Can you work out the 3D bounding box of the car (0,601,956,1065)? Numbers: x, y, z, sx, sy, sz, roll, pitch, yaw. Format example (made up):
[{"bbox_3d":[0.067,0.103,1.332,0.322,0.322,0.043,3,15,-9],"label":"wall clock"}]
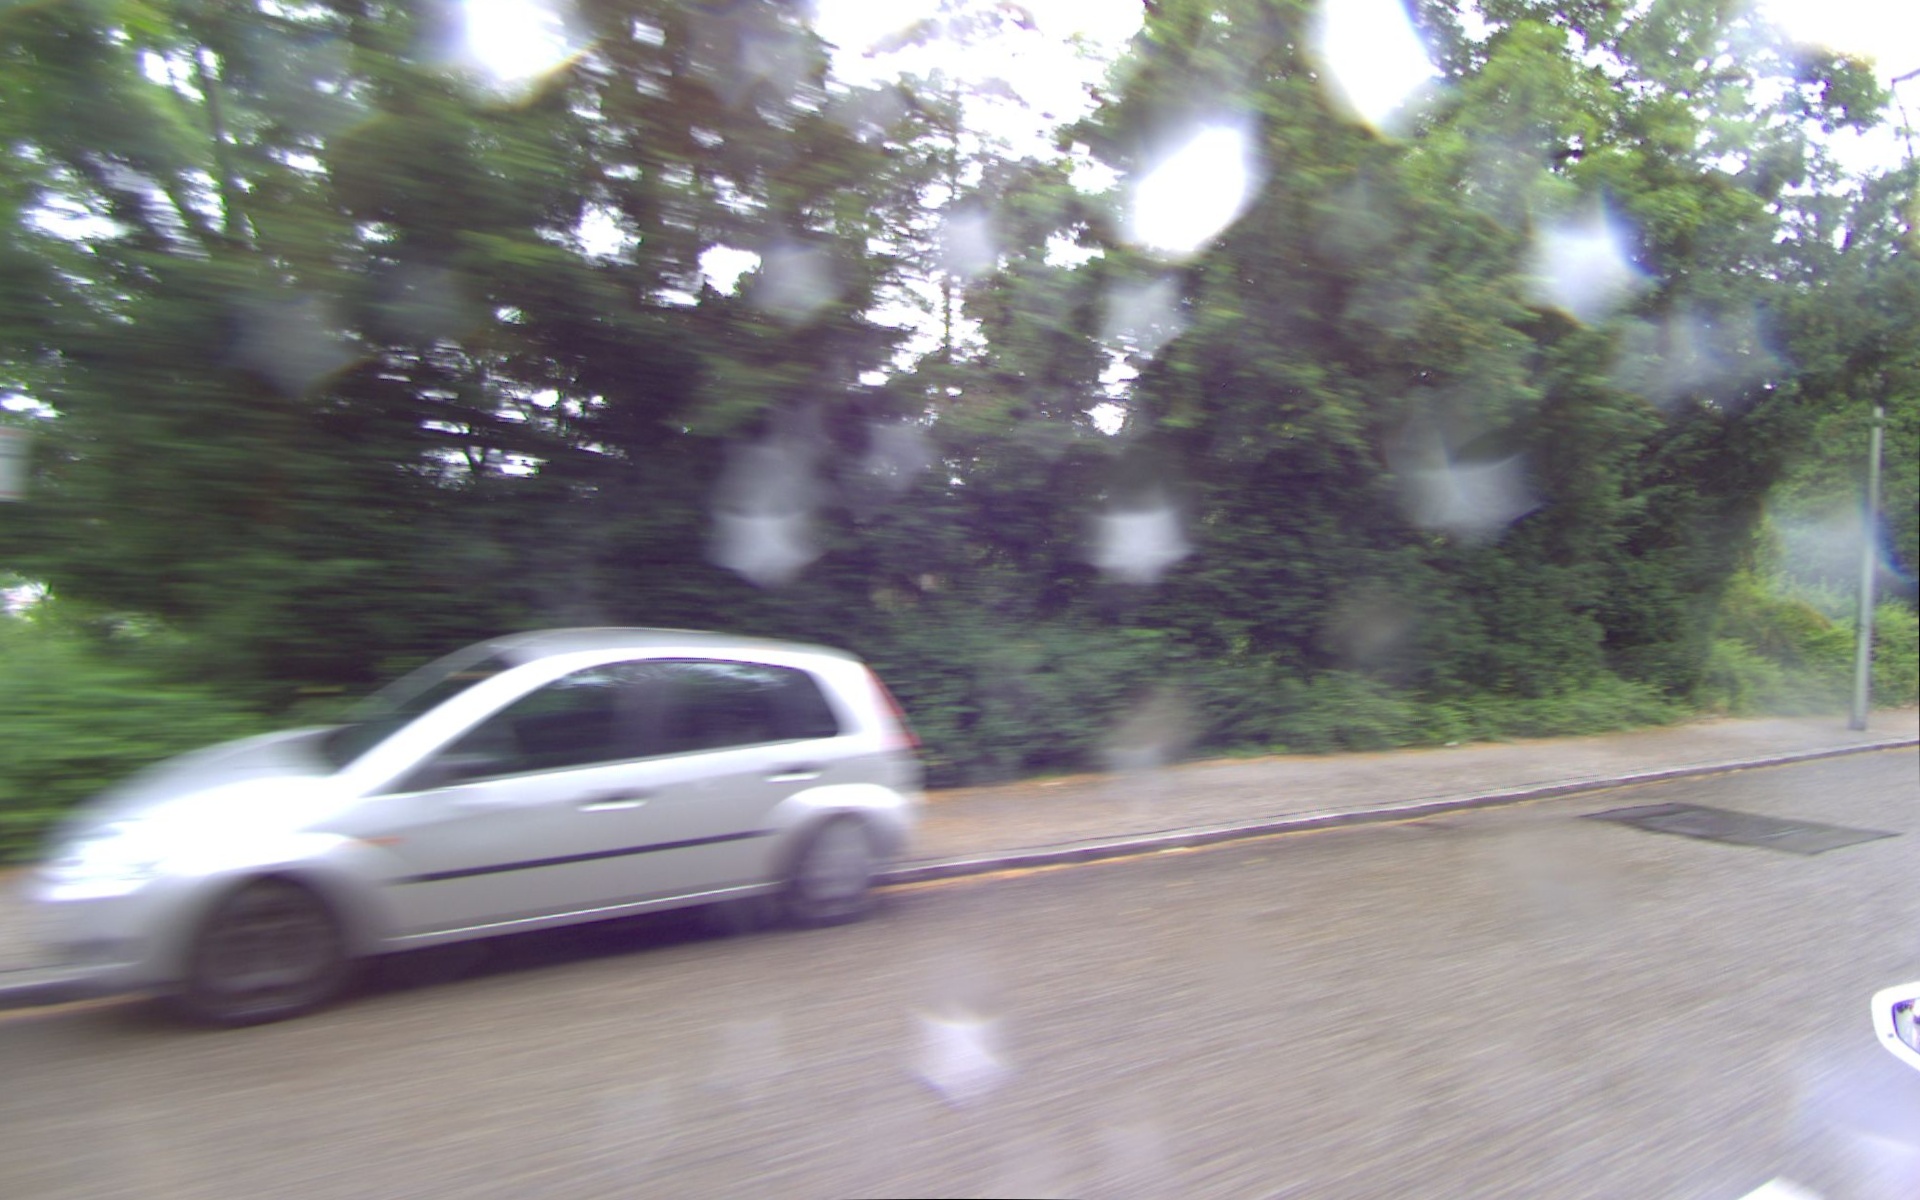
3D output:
[{"bbox_3d":[-2.099,0.832,5.100,3.886,1.519,1.616,1,1,-33],"label":"car"}]
